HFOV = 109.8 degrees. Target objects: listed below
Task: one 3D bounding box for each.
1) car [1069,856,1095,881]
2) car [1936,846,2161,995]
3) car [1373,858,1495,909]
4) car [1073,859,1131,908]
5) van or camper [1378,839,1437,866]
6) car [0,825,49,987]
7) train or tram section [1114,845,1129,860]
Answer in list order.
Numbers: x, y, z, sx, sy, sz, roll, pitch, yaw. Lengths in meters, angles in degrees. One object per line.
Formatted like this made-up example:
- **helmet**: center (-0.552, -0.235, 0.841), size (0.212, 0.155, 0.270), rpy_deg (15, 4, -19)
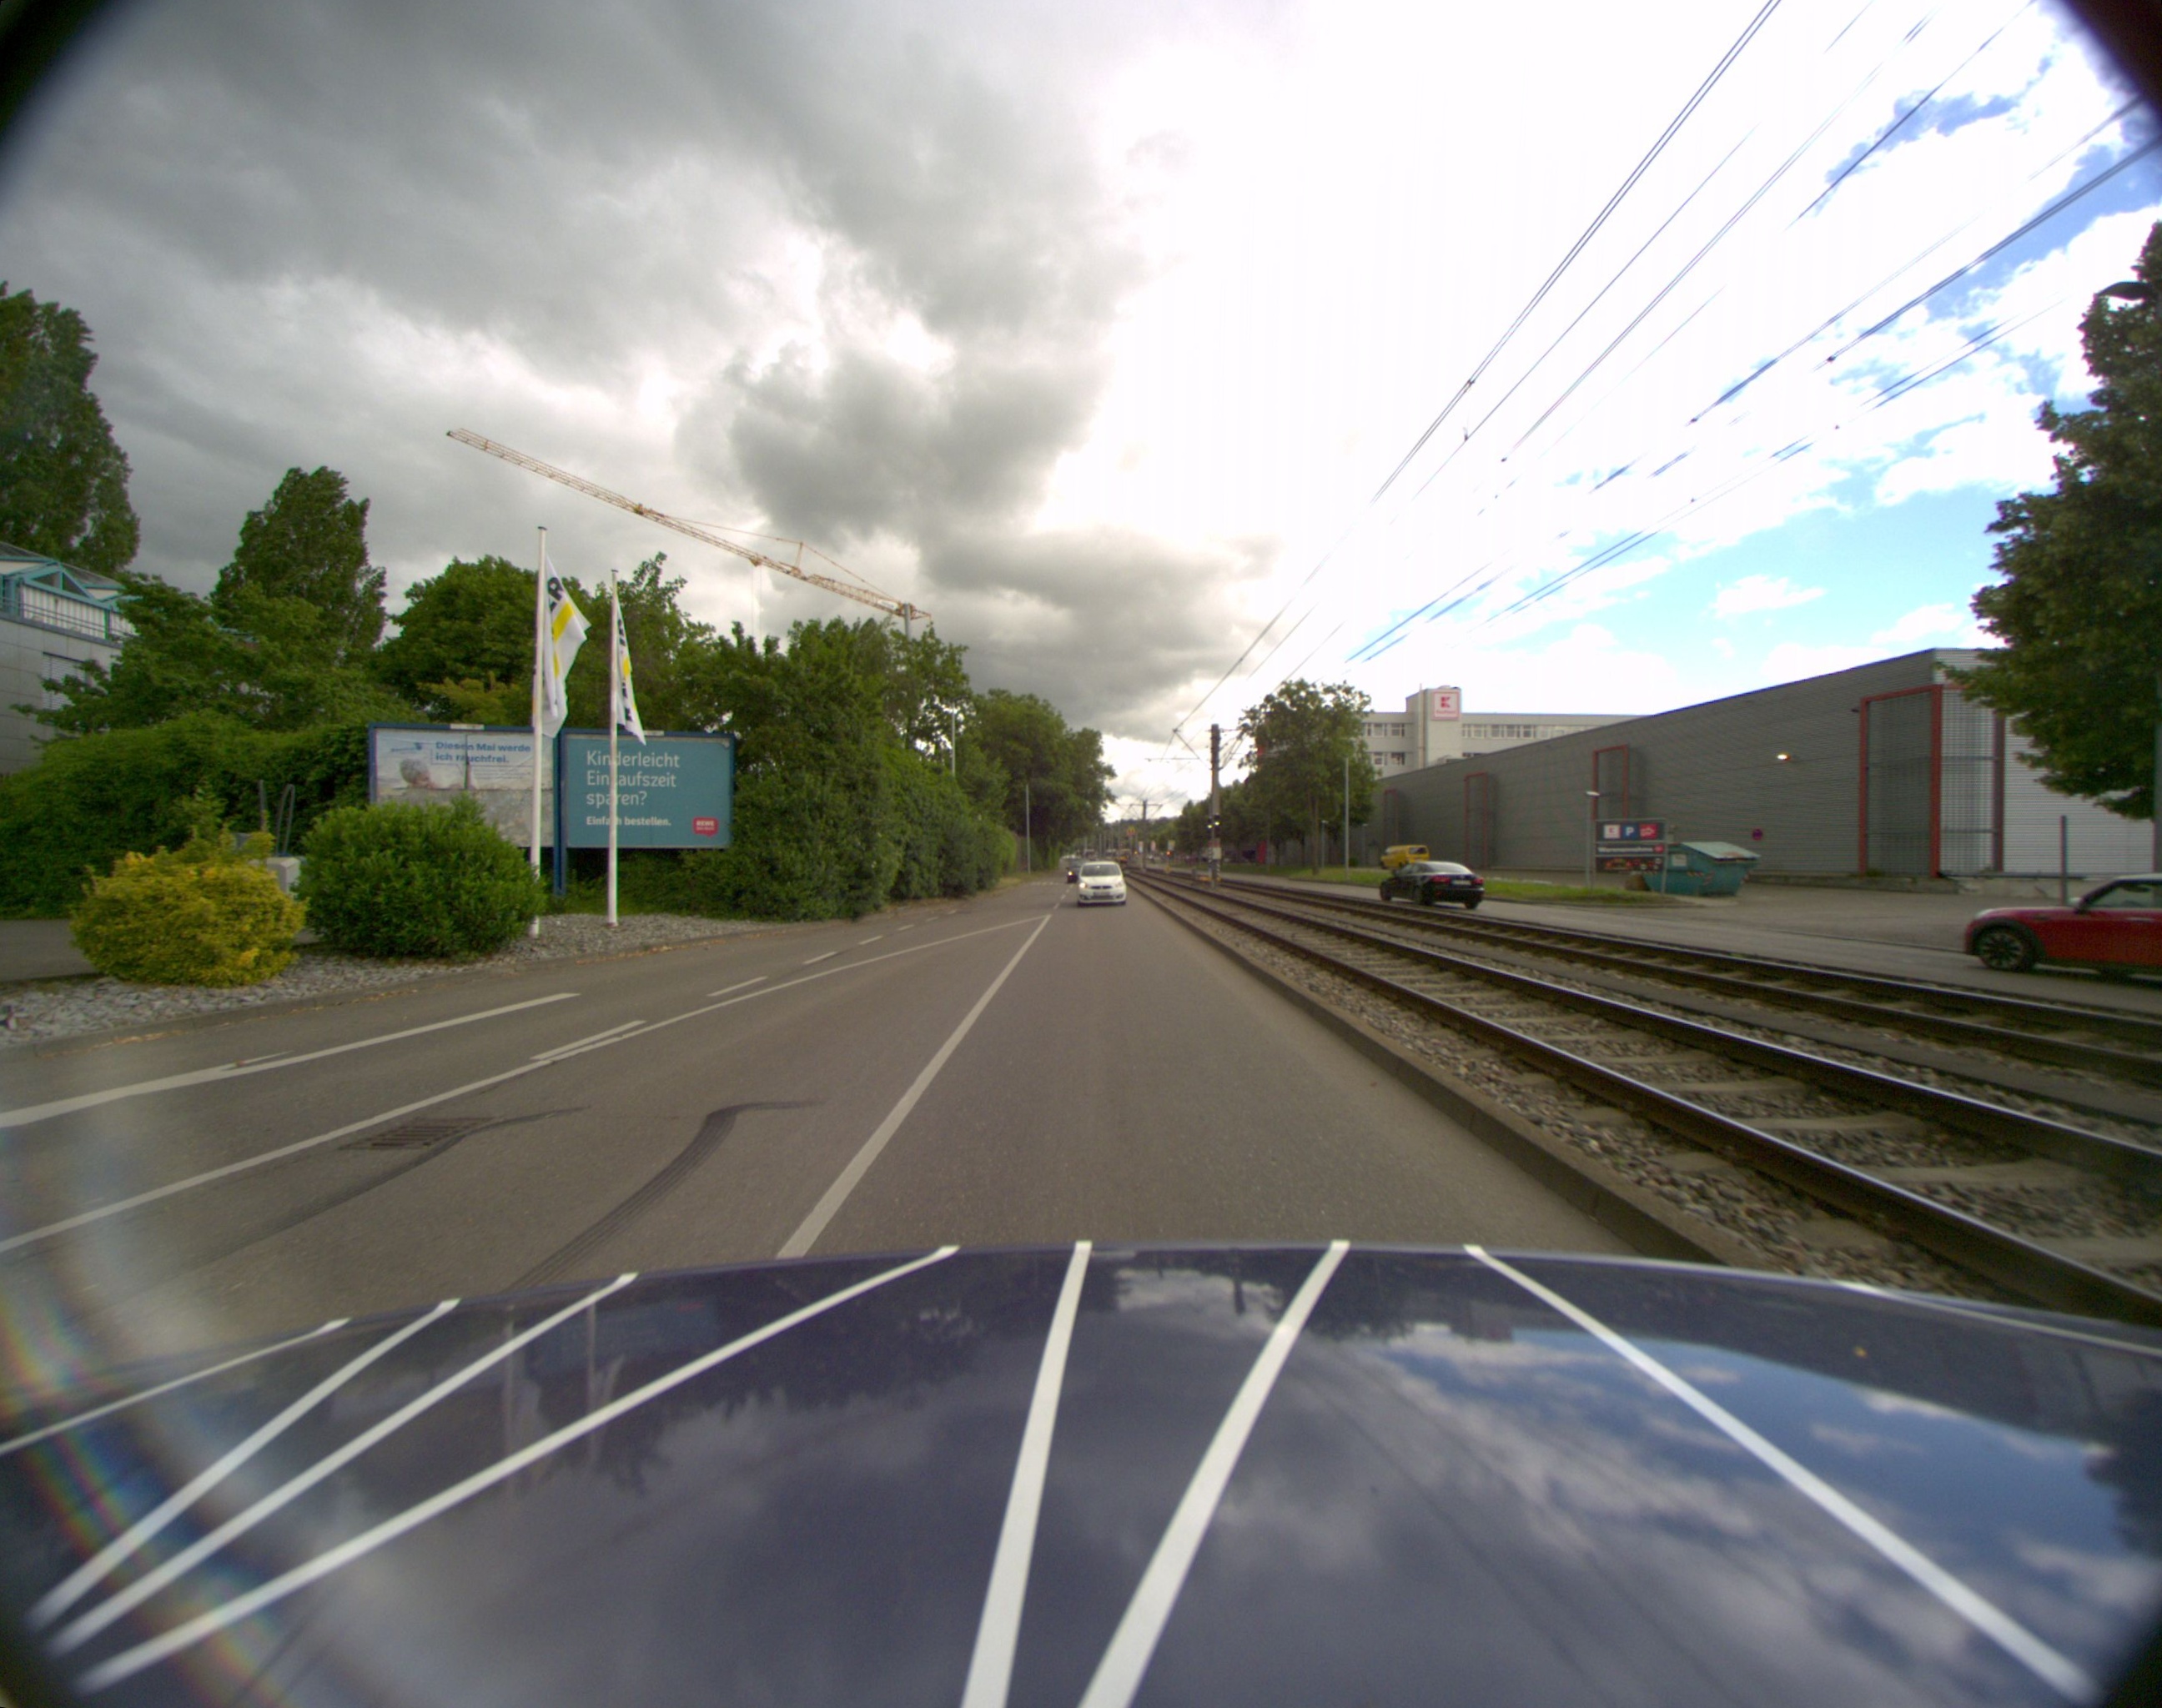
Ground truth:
- **car**: center (0.092, 0.970, 51.710), size (1.714, 1.586, 4.000), rpy_deg (-1, 0, 1)
- **car**: center (13.642, 0.784, 9.318), size (1.797, 1.761, 3.999), rpy_deg (0, 0, -1)
- **car**: center (11.068, 0.870, 24.202), size (1.763, 1.393, 4.443), rpy_deg (2, 0, 0)
- **car**: center (0.675, 0.945, 25.843), size (1.764, 1.469, 4.031), rpy_deg (-2, 0, 0)
- **van or camper**: center (25.171, -0.110, 58.849), size (2.109, 2.002, 5.241), rpy_deg (-1, 0, -2)
- **car**: center (-12.868, 0.520, 6.447), size (4.028, 1.646, 2.945), rpy_deg (0, 0, -4)
- **train or tram section**: center (10.565, -0.388, 198.089), size (2.778, 3.753, 13.786), rpy_deg (-1, 0, -1)
